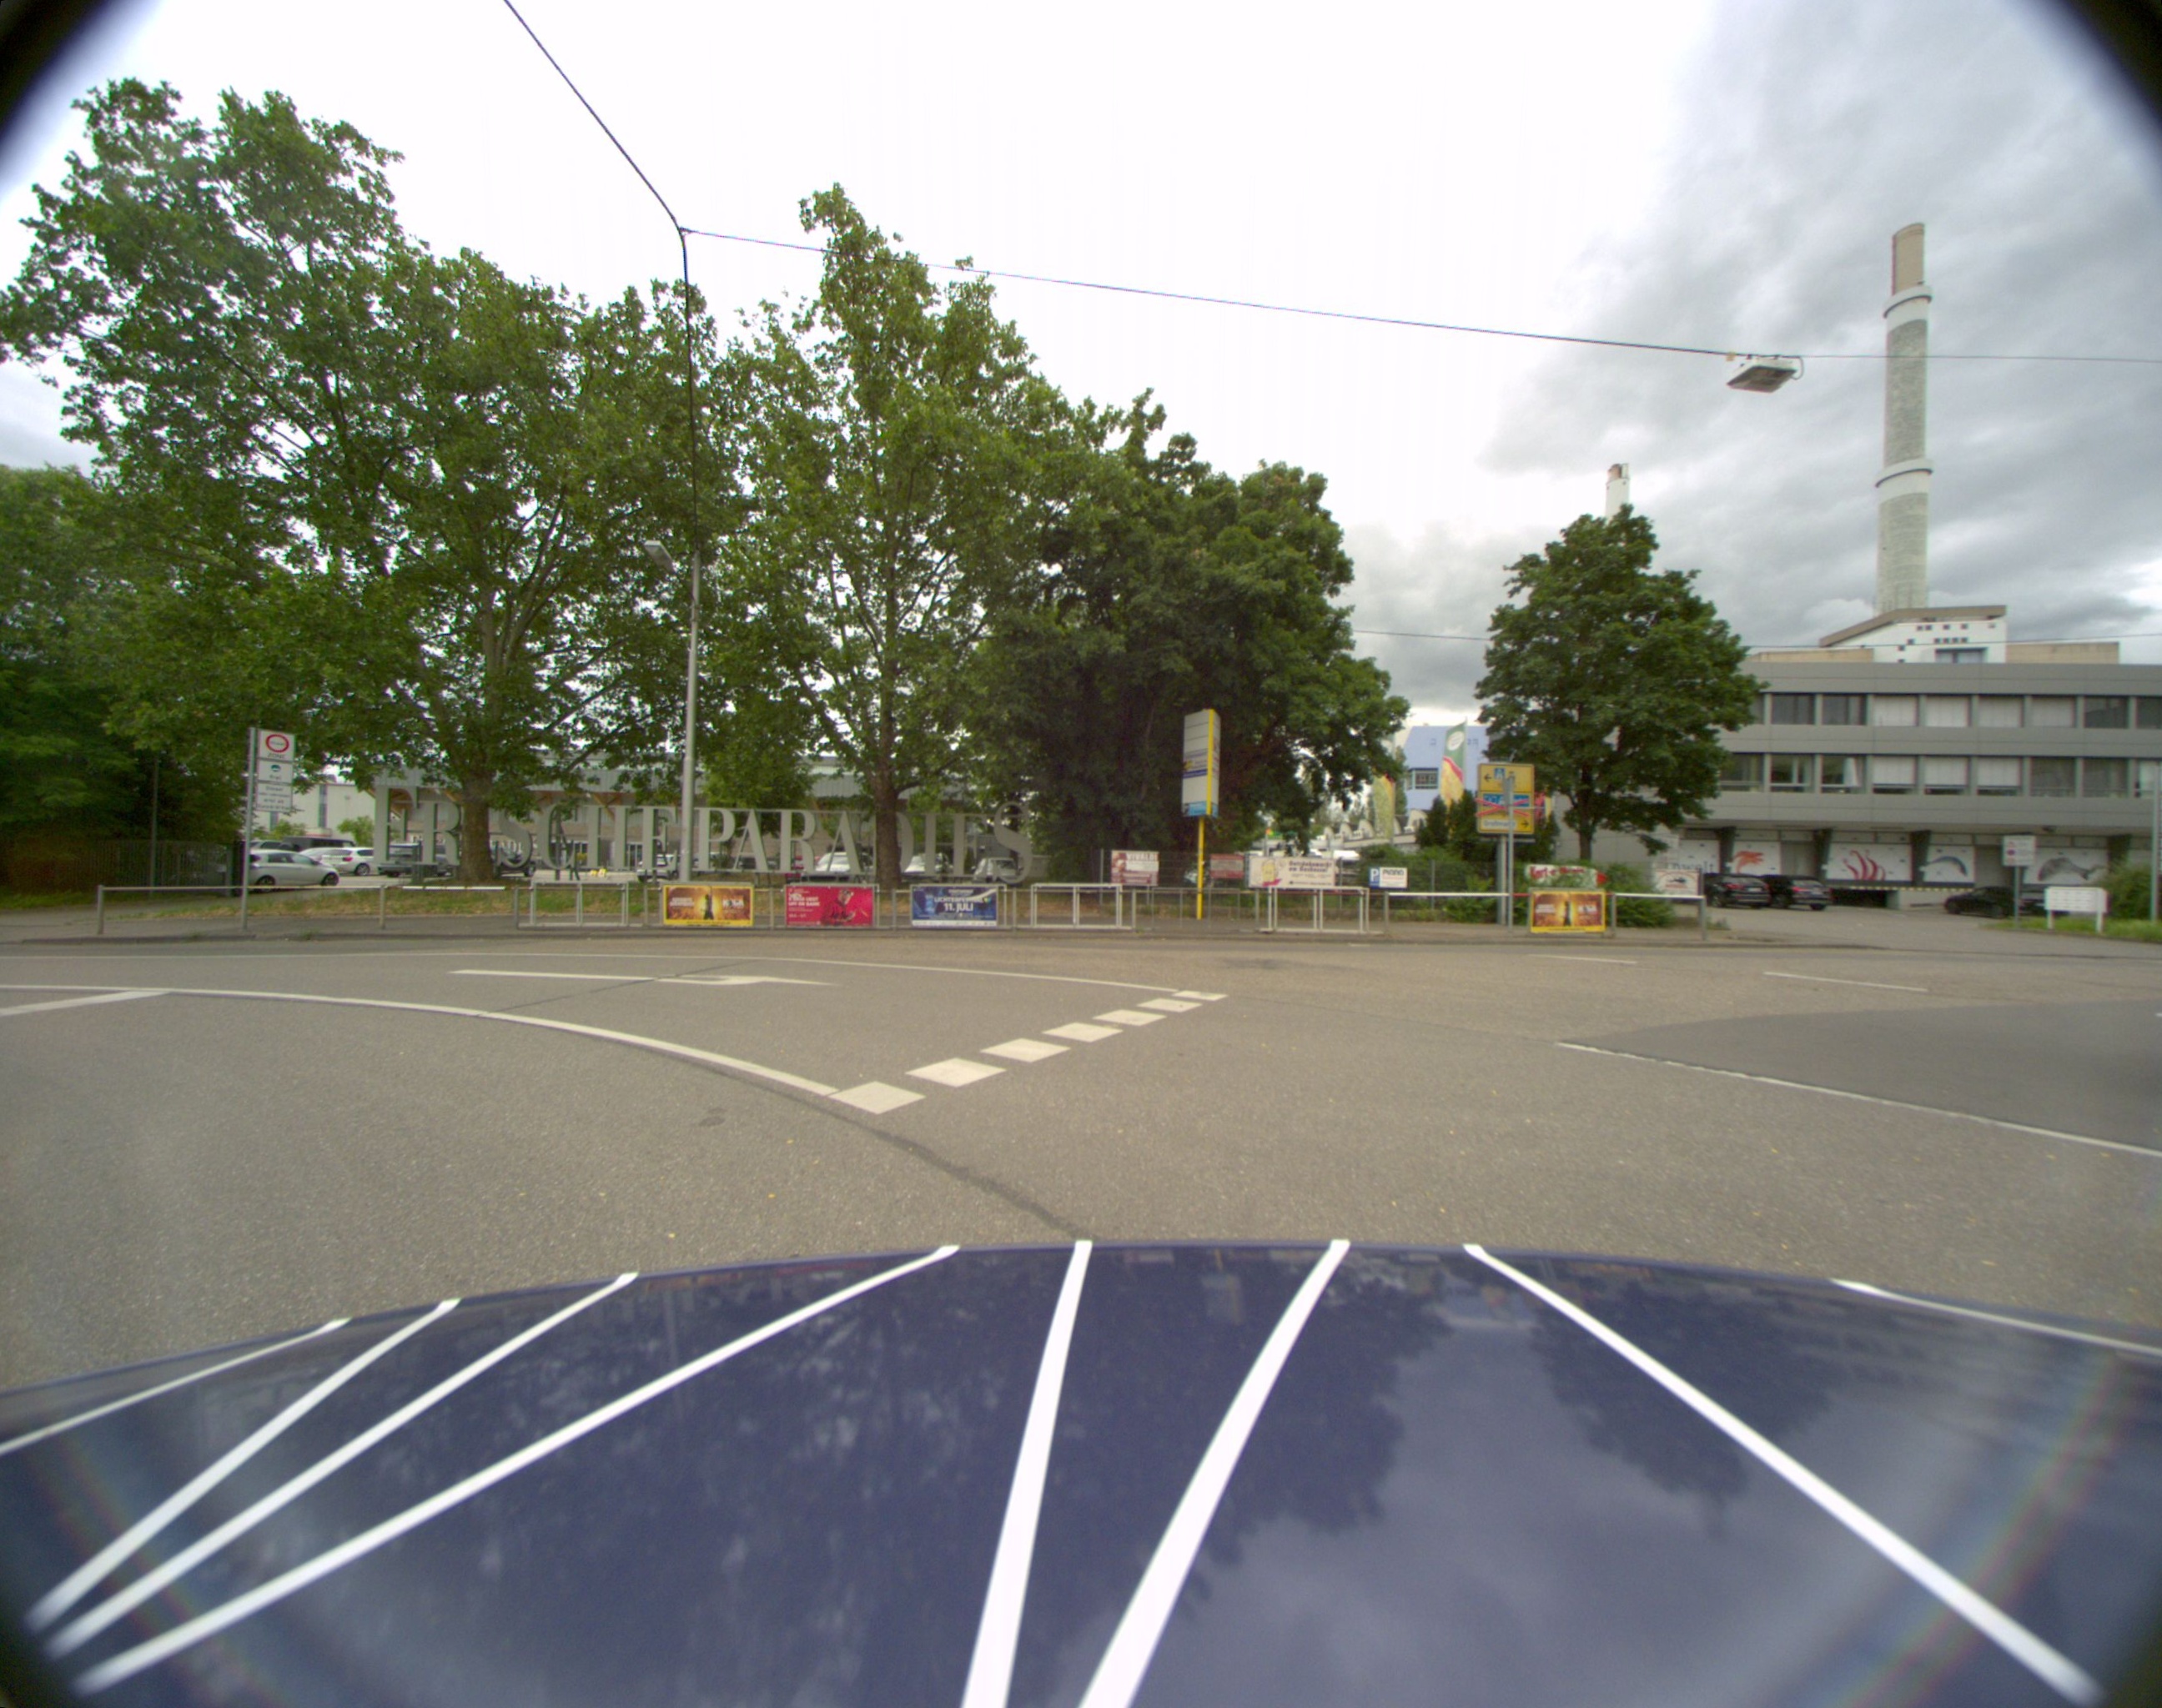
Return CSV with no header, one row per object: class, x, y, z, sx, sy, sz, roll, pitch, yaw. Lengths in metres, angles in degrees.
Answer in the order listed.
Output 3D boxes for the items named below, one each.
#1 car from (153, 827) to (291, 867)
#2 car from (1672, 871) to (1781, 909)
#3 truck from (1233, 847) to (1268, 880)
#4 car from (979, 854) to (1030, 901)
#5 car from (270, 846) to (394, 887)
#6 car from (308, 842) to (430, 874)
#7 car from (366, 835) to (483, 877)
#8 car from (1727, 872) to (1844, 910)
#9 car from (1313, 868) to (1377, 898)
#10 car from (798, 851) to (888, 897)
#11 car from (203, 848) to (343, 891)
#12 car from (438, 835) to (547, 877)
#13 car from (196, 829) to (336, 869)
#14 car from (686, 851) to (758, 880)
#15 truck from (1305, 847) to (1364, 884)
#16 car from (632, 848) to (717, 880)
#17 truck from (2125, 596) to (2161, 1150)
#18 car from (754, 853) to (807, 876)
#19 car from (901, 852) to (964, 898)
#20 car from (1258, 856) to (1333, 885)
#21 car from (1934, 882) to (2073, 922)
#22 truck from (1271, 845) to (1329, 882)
car,-46.691,-0.339,41.484,1.999,2.001,4.824,1,-1,-1
car,31.665,1.717,37.468,1.836,1.608,4.467,2,0,6
truck,22.114,1.241,99.897,2.996,4.141,9.192,1,-1,4
car,-2.827,0.885,28.750,1.591,1.603,4.001,1,-2,-1
car,-39.705,0.659,40.463,1.999,2.001,4.641,1,-1,-1
car,-36.988,0.251,39.652,1.999,1.549,4.641,1,-1,-1
car,-33.639,0.139,39.152,1.999,2.001,4.641,1,-1,-1
car,34.502,1.754,37.404,1.837,1.608,4.425,2,0,5
car,12.240,1.315,35.478,1.708,1.241,3.702,2,-1,1
car,-8.922,0.765,28.906,1.883,1.603,4.527,1,-2,1
car,-30.563,0.573,28.900,1.481,1.495,3.729,1,-1,-4
car,-30.420,0.160,39.479,1.999,2.001,4.641,1,-1,-1
car,-43.496,-0.208,40.787,1.999,1.986,5.103,1,-1,-1
car,-20.975,0.676,44.614,1.999,1.552,4.641,1,-1,-1
truck,30.012,1.422,90.908,2.869,4.001,15.858,2,-1,4
car,-21.115,0.548,39.715,1.999,1.552,4.641,1,-1,-1
truck,10.221,0.026,0.778,2.801,3.505,10.402,0,-1,-25
car,-21.855,0.797,55.440,1.999,1.552,4.641,1,-1,-1
car,-5.532,0.794,28.696,1.591,1.603,4.318,1,-2,-1
car,22.346,1.719,79.484,7.146,2.716,2.245,2,-1,4
car,42.424,2.155,35.129,2.045,1.437,4.836,1,1,23
truck,25.879,1.192,90.875,2.849,3.909,15.734,2,-1,2
